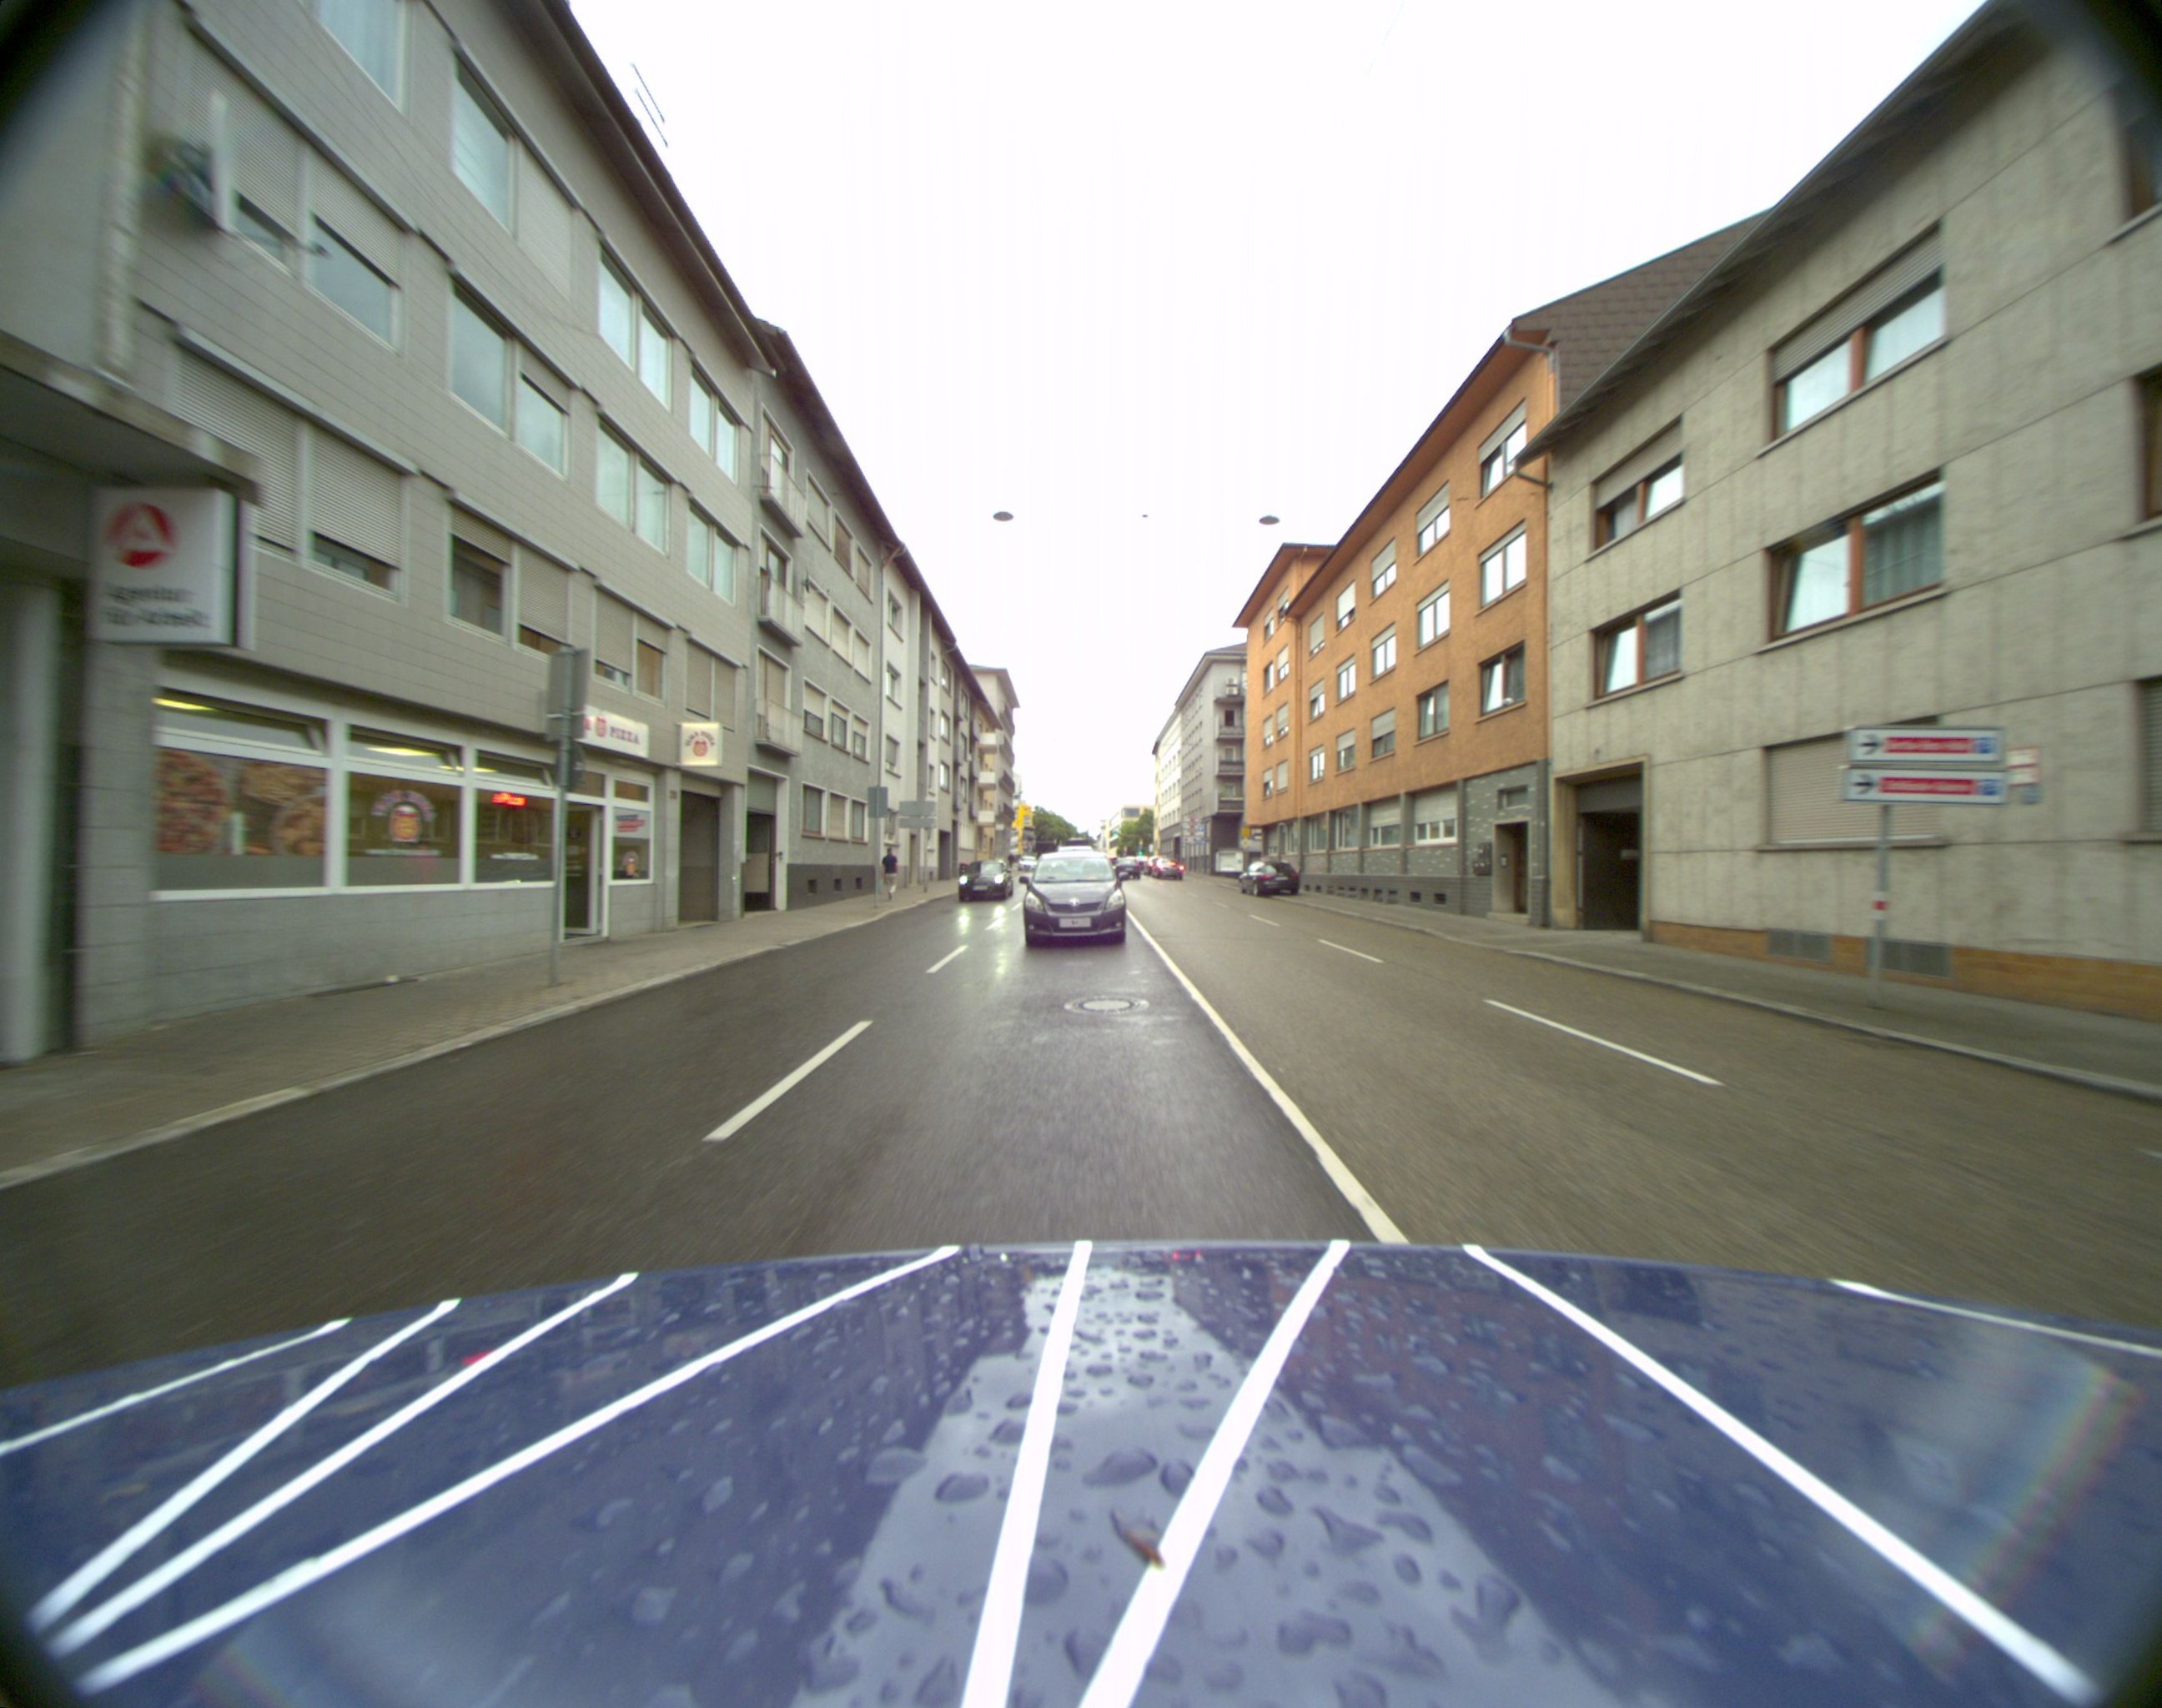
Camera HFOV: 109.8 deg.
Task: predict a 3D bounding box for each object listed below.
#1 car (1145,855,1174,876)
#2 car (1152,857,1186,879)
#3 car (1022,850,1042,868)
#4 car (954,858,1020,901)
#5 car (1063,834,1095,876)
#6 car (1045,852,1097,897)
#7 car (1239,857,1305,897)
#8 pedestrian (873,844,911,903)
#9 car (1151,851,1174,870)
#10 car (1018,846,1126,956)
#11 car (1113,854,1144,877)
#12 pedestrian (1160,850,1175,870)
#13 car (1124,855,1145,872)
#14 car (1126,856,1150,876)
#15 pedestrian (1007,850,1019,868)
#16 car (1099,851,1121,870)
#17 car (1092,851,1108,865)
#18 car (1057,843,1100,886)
[{"bbox_3d":[6.149,0.888,60.121,1.727,1.464,4.373,2,0,-1],"label":"car"},{"bbox_3d":[6.081,0.940,52.767,1.699,1.362,4.365,3,1,-1],"label":"car"},{"bbox_3d":[-4.897,0.464,75.471,1.856,1.663,4.215,-2,1,-4],"label":"car"},{"bbox_3d":[-3.467,0.914,28.824,1.856,1.369,4.217,-2,1,1],"label":"car"},{"bbox_3d":[-0.128,0.049,53.222,2.033,2.731,4.368,-2,1,1],"label":"car"},{"bbox_3d":[-0.331,0.743,29.677,1.856,1.524,3.792,-2,1,1],"label":"car"},{"bbox_3d":[8.223,0.955,33.031,1.799,1.466,4.217,-2,1,1],"label":"car"},{"bbox_3d":[-6.312,0.633,25.461,0.871,1.855,1.119,4,1,1],"label":"pedestrian"},{"bbox_3d":[8.049,0.627,75.321,1.856,1.712,4.217,-2,1,1],"label":"car"},{"bbox_3d":[-0.118,0.748,14.482,1.699,1.712,4.217,-2,1,1],"label":"car"},{"bbox_3d":[3.133,0.747,50.706,1.603,1.362,4.361,3,1,-2],"label":"car"},{"bbox_3d":[9.191,0.657,80.870,1.309,2.002,1.258,-2,1,1],"label":"pedestrian"},{"bbox_3d":[5.696,0.983,81.231,1.856,1.651,4.610,-2,1,1],"label":"car"},{"bbox_3d":[5.106,1.013,68.099,1.699,1.531,4.435,4,1,0],"label":"car"},{"bbox_3d":[-6.566,0.510,73.434,1.119,1.741,0.961,1,1,-5],"label":"pedestrian"},{"bbox_3d":[2.598,0.574,68.348,1.699,1.572,4.216,2,1,0],"label":"car"},{"bbox_3d":[2.085,0.392,83.660,1.699,1.362,4.217,2,1,1],"label":"car"},{"bbox_3d":[-0.092,0.446,36.687,1.856,1.882,4.217,-2,1,1],"label":"car"}]
